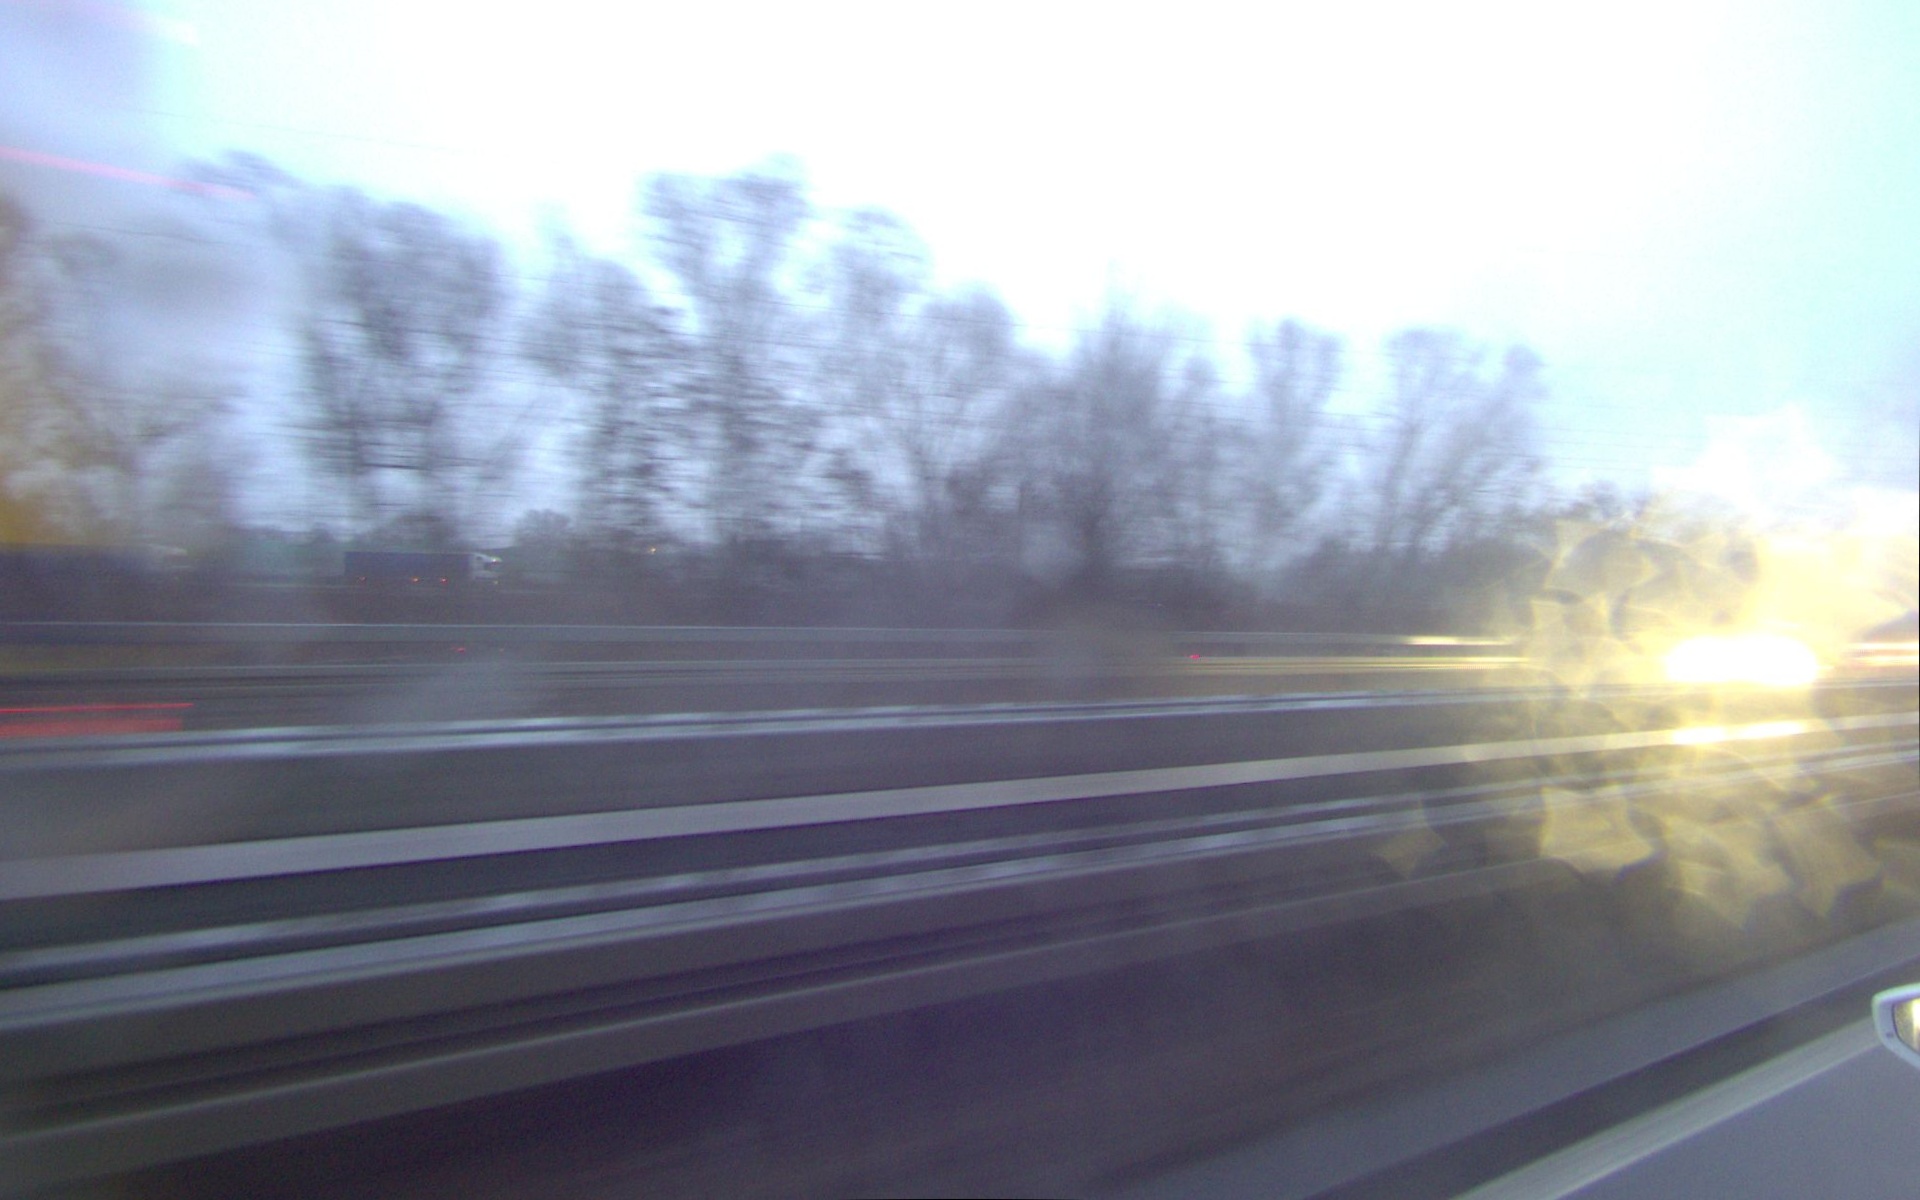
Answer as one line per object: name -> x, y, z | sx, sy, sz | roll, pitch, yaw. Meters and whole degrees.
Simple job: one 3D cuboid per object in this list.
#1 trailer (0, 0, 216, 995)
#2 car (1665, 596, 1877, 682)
trailer -> -9.601, -1.132, 1.564 | 13.166, 4.645, 2.616 | 2, -1, -30
car -> 16.988, 0.727, 21.001 | 4.427, 1.615, 2.083 | 0, 1, -31
